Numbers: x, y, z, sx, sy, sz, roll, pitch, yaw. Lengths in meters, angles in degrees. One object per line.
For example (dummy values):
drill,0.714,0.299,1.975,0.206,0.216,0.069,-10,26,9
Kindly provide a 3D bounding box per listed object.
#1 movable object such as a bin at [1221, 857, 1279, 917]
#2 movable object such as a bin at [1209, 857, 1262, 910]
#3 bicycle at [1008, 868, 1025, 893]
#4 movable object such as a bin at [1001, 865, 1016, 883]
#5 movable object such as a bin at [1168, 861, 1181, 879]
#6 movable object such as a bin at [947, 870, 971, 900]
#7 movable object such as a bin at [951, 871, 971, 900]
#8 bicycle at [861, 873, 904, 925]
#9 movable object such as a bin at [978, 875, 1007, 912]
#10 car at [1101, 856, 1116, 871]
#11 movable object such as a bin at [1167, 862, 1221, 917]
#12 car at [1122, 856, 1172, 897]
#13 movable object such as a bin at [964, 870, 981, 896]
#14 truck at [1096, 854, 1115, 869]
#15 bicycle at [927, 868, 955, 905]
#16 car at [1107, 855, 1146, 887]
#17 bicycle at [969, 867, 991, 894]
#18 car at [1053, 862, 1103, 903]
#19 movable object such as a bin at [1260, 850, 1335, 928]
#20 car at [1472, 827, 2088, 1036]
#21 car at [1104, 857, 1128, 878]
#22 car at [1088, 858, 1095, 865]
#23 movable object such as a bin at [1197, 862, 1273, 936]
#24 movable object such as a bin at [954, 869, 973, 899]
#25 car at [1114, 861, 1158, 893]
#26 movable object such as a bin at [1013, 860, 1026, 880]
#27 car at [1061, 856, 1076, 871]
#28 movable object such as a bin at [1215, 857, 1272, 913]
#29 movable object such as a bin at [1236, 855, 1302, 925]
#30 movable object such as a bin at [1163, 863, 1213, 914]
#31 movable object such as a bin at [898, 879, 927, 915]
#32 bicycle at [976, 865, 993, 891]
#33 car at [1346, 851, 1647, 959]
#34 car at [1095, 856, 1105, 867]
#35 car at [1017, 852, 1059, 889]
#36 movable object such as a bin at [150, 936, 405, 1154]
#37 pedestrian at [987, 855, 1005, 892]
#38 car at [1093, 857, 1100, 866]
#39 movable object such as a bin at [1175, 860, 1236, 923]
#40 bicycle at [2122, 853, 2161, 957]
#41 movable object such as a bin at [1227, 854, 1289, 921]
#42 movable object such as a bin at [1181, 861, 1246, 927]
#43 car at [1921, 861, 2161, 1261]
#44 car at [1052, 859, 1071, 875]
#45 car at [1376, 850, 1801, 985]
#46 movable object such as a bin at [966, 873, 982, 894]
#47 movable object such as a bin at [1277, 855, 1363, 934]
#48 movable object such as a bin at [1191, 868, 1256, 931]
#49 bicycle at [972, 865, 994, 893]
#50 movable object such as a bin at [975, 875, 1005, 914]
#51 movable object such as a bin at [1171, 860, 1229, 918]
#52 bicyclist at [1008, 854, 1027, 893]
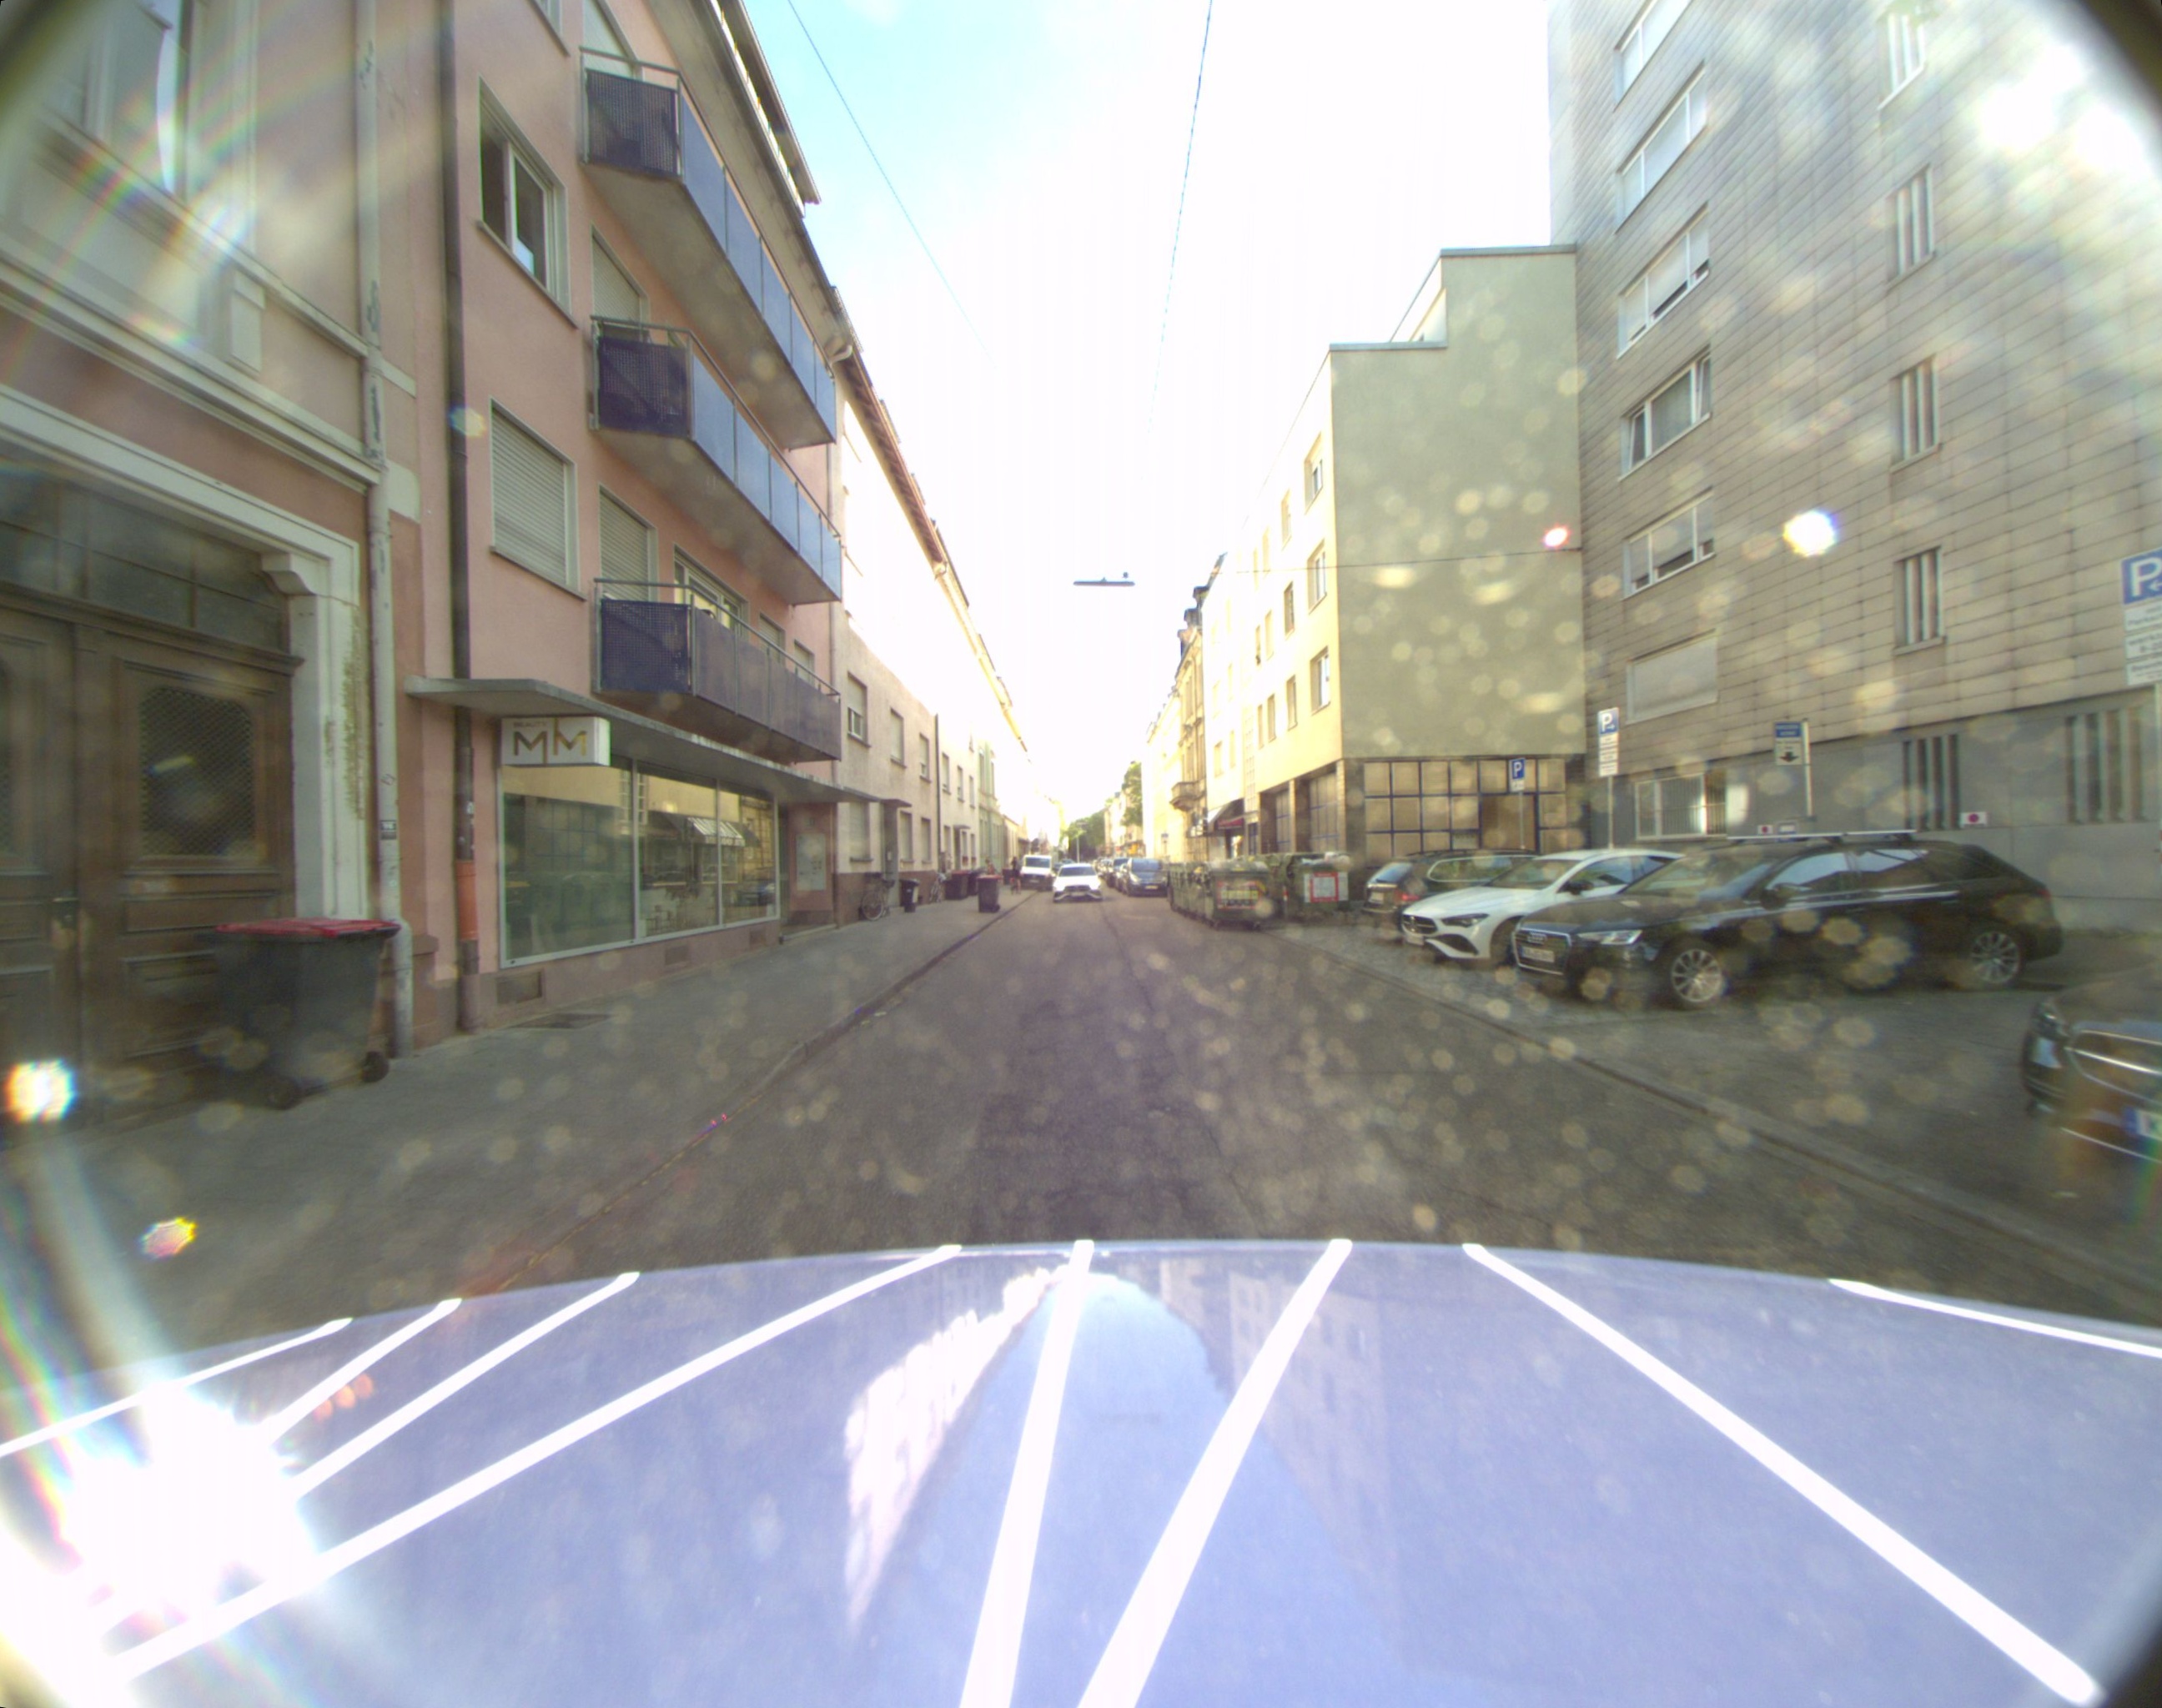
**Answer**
movable object such as a bin,4.501,0.864,20.314,1.305,1.514,1.018,-2,1,0
movable object such as a bin,4.565,0.850,22.549,1.300,1.489,1.178,-2,1,0
bicycle,-2.976,1.216,35.128,0.665,1.130,1.988,2,-1,-2
movable object such as a bin,-4.552,1.268,47.799,0.814,1.082,0.674,-1,1,2
movable object such as a bin,6.120,1.052,49.946,0.721,1.125,0.584,-1,1,-4
movable object such as a bin,-4.606,1.153,28.723,0.740,1.091,0.640,1,1,1
movable object such as a bin,-4.618,1.205,29.318,0.658,1.098,0.593,-1,0,1
bicycle,-4.758,1.050,18.310,0.454,1.127,1.920,1,0,2
movable object such as a bin,-2.635,1.178,22.727,0.734,1.074,0.703,-1,1,1
car,3.688,1.237,101.547,1.771,1.887,4.809,1,-1,-1
movable object such as a bin,3.155,0.973,21.387,1.337,1.476,1.093,0,1,0
car,2.770,0.914,32.800,1.787,1.657,4.670,0,0,0
movable object such as a bin,-4.660,1.244,32.668,0.617,1.056,0.603,1,0,0
truck,3.736,1.118,118.916,2.171,2.295,6.345,0,0,-5
bicycle,-4.756,1.094,25.929,0.538,1.163,2.076,3,0,0
car,2.570,0.954,43.981,1.941,1.726,5.142,0,0,0
bicycle,-4.577,1.175,34.545,0.570,1.147,1.868,-1,1,5
car,-0.092,1.055,29.493,1.761,1.399,4.022,-1,0,0
movable object such as a bin,4.807,0.759,16.977,1.231,1.643,1.173,-2,1,-6
car,6.679,0.665,7.636,4.477,1.600,1.915,-3,1,-2
car,2.735,1.060,60.062,1.748,1.605,4.603,0,-1,1
car,2.927,1.982,206.156,1.786,1.674,4.022,-1,0,0
movable object such as a bin,3.225,0.916,16.047,1.304,1.442,1.117,-2,1,-3
movable object such as a bin,-4.603,1.176,29.880,0.629,1.116,0.569,-1,1,1
car,2.704,1.109,38.183,1.850,1.408,4.817,0,0,0
movable object such as a bin,-4.441,1.168,55.063,0.839,1.382,1.296,1,2,-1
car,-1.767,1.304,106.031,1.975,2.017,4.899,-3,0,-1
movable object such as a bin,4.554,0.855,21.391,1.309,1.490,1.157,-2,1,0
movable object such as a bin,4.486,0.834,18.247,1.292,1.595,1.082,-2,1,0
movable object such as a bin,3.162,1.007,22.561,1.323,1.442,1.187,0,1,0
movable object such as a bin,-4.661,1.188,21.051,0.599,0.946,0.682,-1,1,1
bicycle,-4.704,1.152,36.970,0.406,1.199,2.160,-1,1,3
car,6.605,0.760,12.382,3.885,1.496,1.826,-2,1,-1
car,3.867,1.522,156.813,1.913,2.076,4.696,-1,0,0
car,-2.343,0.874,42.755,1.988,1.872,5.599,2,0,0
movable object such as a bin,-4.696,1.080,4.500,0.731,1.097,0.693,-1,1,-2
pedestrian,-3.982,0.922,35.593,0.656,1.701,0.687,-1,1,12
car,3.618,1.790,176.509,1.585,1.971,4.068,-1,0,0
movable object such as a bin,3.138,0.930,19.306,1.346,1.490,1.018,-2,1,0
bicycle,11.999,0.538,7.503,0.611,1.117,2.038,-3,-1,0
movable object such as a bin,4.471,0.820,19.312,1.297,1.611,1.018,-2,1,0
movable object such as a bin,3.154,0.942,18.238,1.338,1.482,1.082,-2,1,0
car,6.370,0.676,2.689,4.511,1.462,1.929,-4,0,1
car,-2.073,1.356,81.077,1.805,1.569,4.897,-2,0,0
car,6.534,0.765,10.167,4.353,1.417,1.957,-3,1,-1
movable object such as a bin,-4.681,1.285,33.278,0.578,0.919,0.607,1,0,0
movable object such as a bin,4.946,0.813,15.818,1.357,1.540,1.120,-2,1,-6
movable object such as a bin,3.200,1.001,17.147,1.244,1.314,1.045,-2,1,0
bicycle,-4.586,1.159,35.634,0.438,1.199,2.267,-1,1,7
movable object such as a bin,-2.629,1.177,22.013,0.770,1.080,0.693,-1,1,1
movable object such as a bin,3.159,0.920,20.341,1.352,1.478,1.003,-2,1,0
bicyclist,-2.945,0.895,35.342,0.762,1.760,0.822,1,-1,-2
